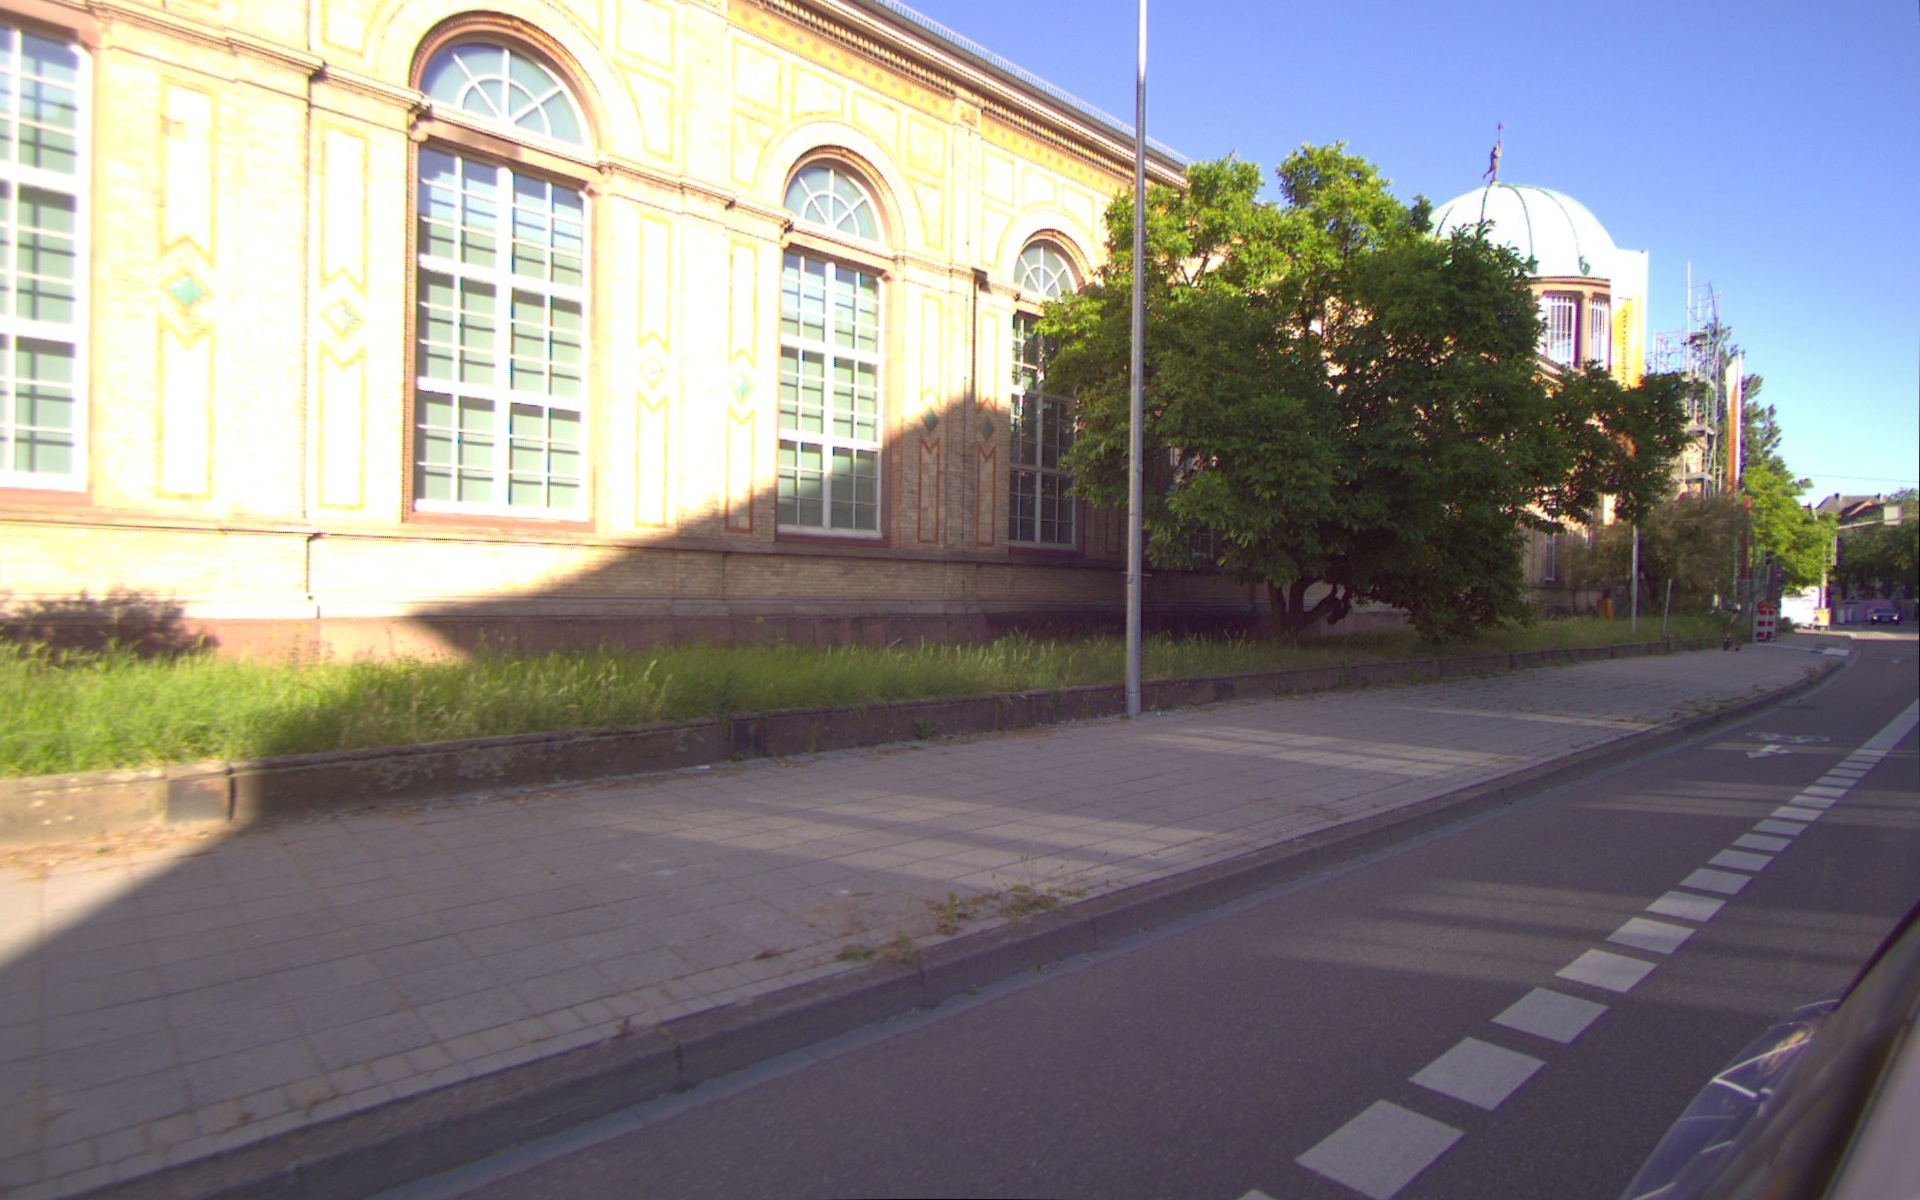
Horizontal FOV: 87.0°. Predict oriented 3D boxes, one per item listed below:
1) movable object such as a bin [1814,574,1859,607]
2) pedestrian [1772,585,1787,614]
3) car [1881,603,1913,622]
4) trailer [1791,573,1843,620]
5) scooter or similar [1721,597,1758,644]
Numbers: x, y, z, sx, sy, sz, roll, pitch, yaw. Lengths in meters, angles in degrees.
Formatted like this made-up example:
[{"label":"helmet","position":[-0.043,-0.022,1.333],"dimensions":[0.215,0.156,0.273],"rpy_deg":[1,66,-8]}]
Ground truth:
[{"label":"movable object such as a bin","position":[92.892,-0.999,107.309],"dimensions":[3.154,3.341,4.328],"rpy_deg":[2,1,36]},{"label":"pedestrian","position":[55.388,-0.041,68.413],"dimensions":[0.713,1.918,0.878],"rpy_deg":[2,1,37]},{"label":"car","position":[74.814,0.999,80.838],"dimensions":[1.547,1.311,3.587],"rpy_deg":[5,4,38]},{"label":"trailer","position":[49.317,-0.203,58.247],"dimensions":[2.078,2.559,4.425],"rpy_deg":[4,2,41]},{"label":"scooter or similar","position":[22.841,0.591,29.630],"dimensions":[1.801,1.325,0.556],"rpy_deg":[0,1,-43]}]
